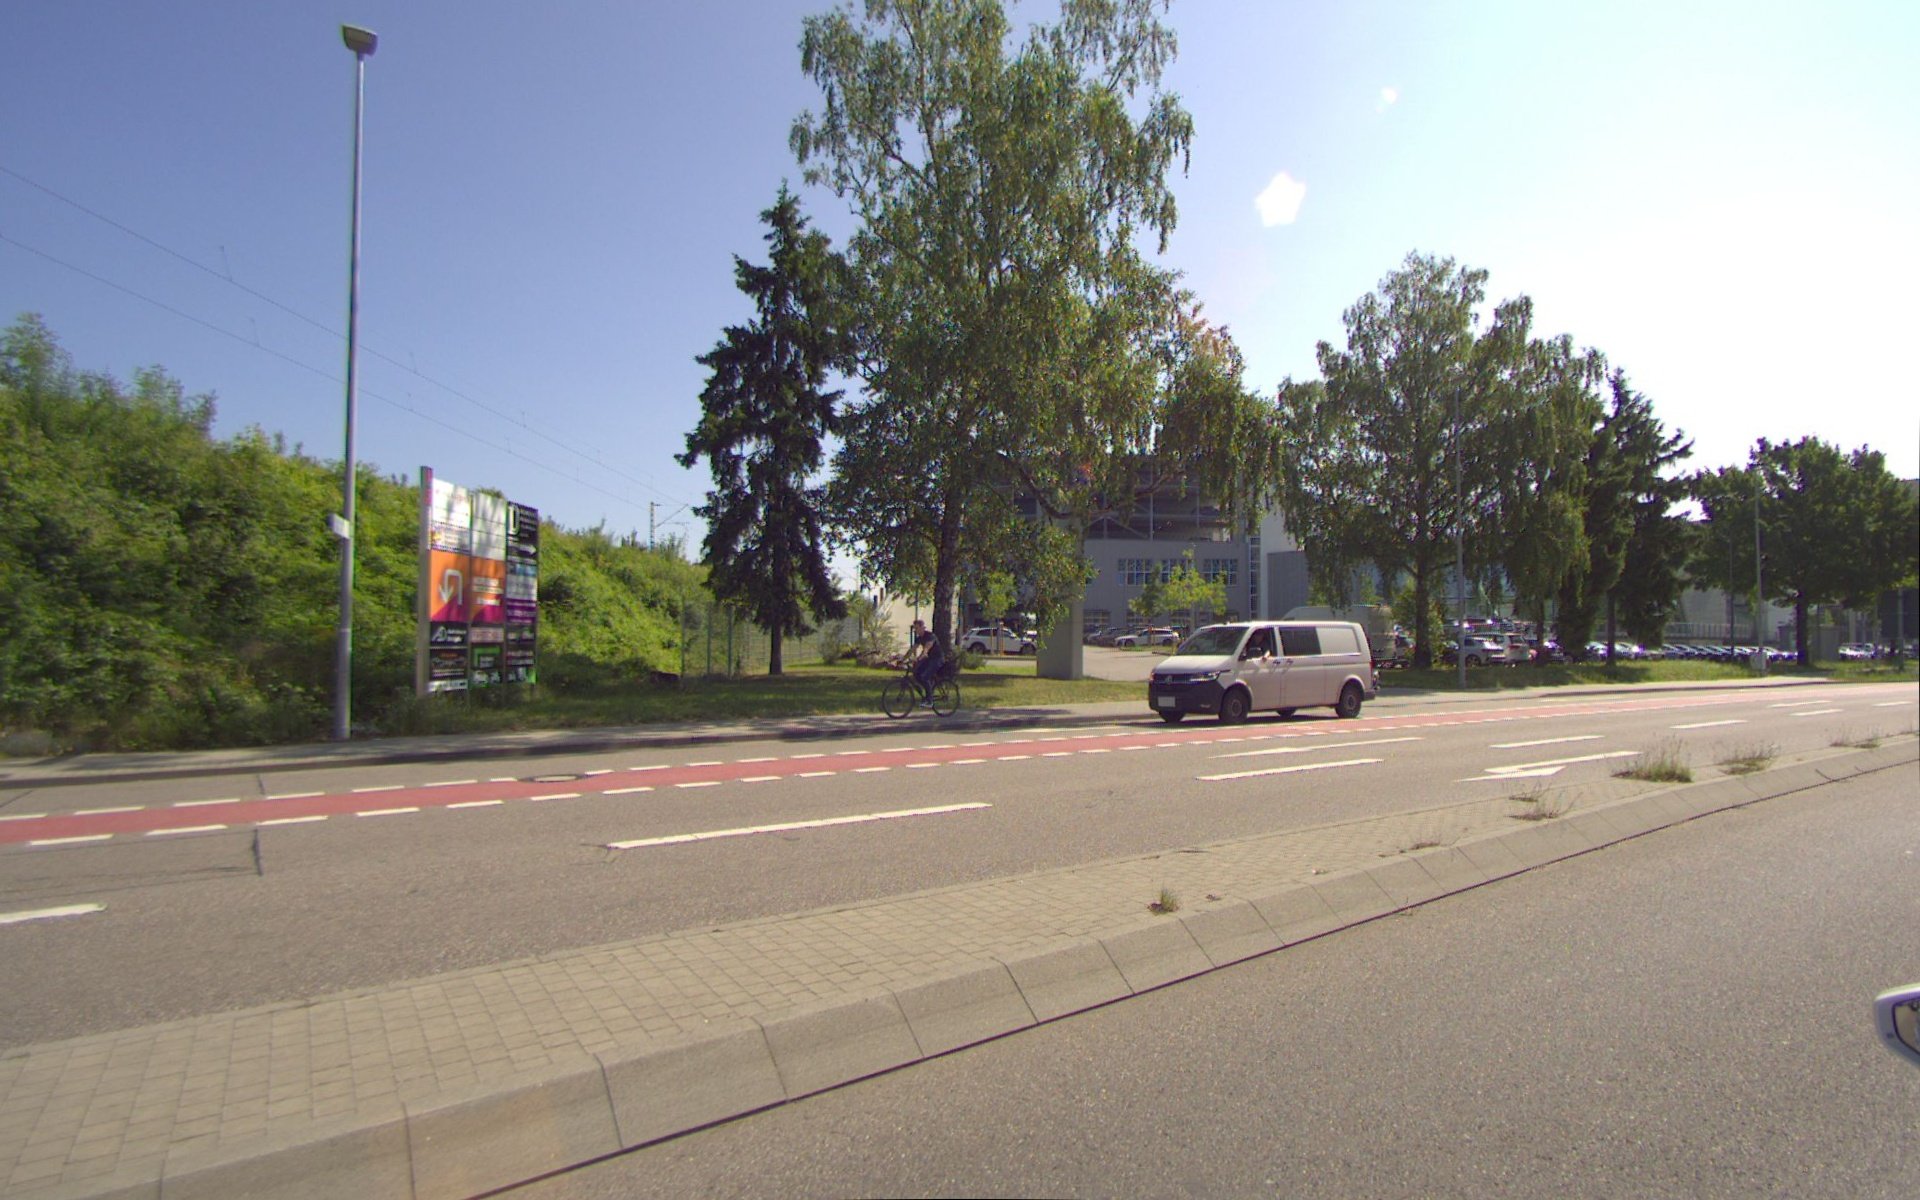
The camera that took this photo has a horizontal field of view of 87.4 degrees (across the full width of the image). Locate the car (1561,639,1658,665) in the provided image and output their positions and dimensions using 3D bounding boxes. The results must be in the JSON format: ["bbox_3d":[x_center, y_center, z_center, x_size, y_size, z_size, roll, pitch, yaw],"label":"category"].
[{"bbox_3d":[37.057,2.945,57.388,1.932,1.368,4.244,1,-3,-32],"label":"car"}]

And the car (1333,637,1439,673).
[{"bbox_3d":[18.368,2.339,43.502,1.722,1.457,4.071,1,-2,-28],"label":"car"}]

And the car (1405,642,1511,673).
[{"bbox_3d":[22.739,2.592,45.992,1.724,1.310,4.066,1,-3,-32],"label":"car"}]

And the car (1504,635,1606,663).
[{"bbox_3d":[31.170,2.530,52.734,1.932,1.399,4.244,1,-3,-32],"label":"car"}]

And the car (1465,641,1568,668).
[{"bbox_3d":[28.513,2.772,51.574,1.932,1.345,4.244,1,-3,-32],"label":"car"}]

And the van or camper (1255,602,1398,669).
[{"bbox_3d":[14.922,1.375,41.182,1.981,2.504,5.341,0,0,-36],"label":"van or camper"}]

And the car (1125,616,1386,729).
[{"bbox_3d":[6.038,1.397,20.328,5.284,2.040,1.984,1,-3,-30],"label":"car"}]

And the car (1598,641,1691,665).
[{"bbox_3d":[41.174,3.149,60.492,1.932,1.368,4.244,1,-3,-32],"label":"car"}]

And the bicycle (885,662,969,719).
[{"bbox_3d":[-0.623,1.721,19.267,1.596,1.041,0.444,1,-3,-30],"label":"bicycle"}]

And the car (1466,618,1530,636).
[{"bbox_3d":[44.010,2.240,82.284,1.933,1.368,4.242,2,-3,-33],"label":"car"}]

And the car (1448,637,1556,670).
[{"bbox_3d":[26.421,2.581,49.092,1.932,1.523,4.244,1,-3,-32],"label":"car"}]

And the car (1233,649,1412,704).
[{"bbox_3d":[10.422,2.144,29.195,1.980,1.432,4.637,2,-3,-34],"label":"car"}]

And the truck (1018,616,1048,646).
[{"bbox_3d":[7.330,3.180,102.057,2.613,2.955,8.467,0,-2,2],"label":"truck"}]

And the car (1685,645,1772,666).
[{"bbox_3d":[51.902,3.742,67.898,1.932,1.368,4.244,1,-3,-32],"label":"car"}]

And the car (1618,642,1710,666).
[{"bbox_3d":[43.369,3.298,61.988,1.932,1.368,4.244,1,-3,-32],"label":"car"}]

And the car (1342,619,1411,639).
[{"bbox_3d":[29.670,2.119,71.644,1.933,1.368,4.242,2,-3,-33],"label":"car"}]

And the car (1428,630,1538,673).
[{"bbox_3d":[24.701,2.406,47.571,1.932,1.909,4.244,1,-3,-32],"label":"car"}]

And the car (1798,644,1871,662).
[{"bbox_3d":[70.128,4.220,80.578,2.004,1.394,4.018,2,-3,-34],"label":"car"}]

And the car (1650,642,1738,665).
[{"bbox_3d":[47.651,3.452,65.292,1.932,1.368,4.244,1,-3,-32],"label":"car"}]

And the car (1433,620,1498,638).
[{"bbox_3d":[39.868,2.326,79.276,1.933,1.368,4.242,2,-3,-33],"label":"car"}]

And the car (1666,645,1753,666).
[{"bbox_3d":[49.736,3.668,66.760,1.932,1.368,4.244,1,-3,-32],"label":"car"}]

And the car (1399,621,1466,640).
[{"bbox_3d":[35.757,2.355,76.095,1.933,1.368,4.242,2,-3,-33],"label":"car"}]

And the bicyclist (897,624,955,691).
[{"bbox_3d":[-0.661,1.095,19.280,0.939,1.244,0.631,1,-3,-30],"label":"bicyclist"}]

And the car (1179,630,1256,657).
[{"bbox_3d":[13.876,2.352,54.344,1.722,1.372,4.071,1,-3,-28],"label":"car"}]

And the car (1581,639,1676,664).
[{"bbox_3d":[39.247,3.004,59.076,1.932,1.368,4.244,1,-3,-32],"label":"car"}]

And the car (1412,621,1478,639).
[{"bbox_3d":[37.654,2.367,78.001,1.933,1.368,4.242,2,-3,-33],"label":"car"}]

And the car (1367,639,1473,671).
[{"bbox_3d":[20.394,2.422,44.687,1.722,1.372,4.071,2,-3,-28],"label":"car"}]

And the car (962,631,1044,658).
[{"bbox_3d":[2.341,2.464,56.012,4.460,1.461,2.000,0,-2,-1],"label":"car"}]

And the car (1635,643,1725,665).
[{"bbox_3d":[45.428,3.389,63.457,1.932,1.368,4.244,1,-3,-32],"label":"car"}]
